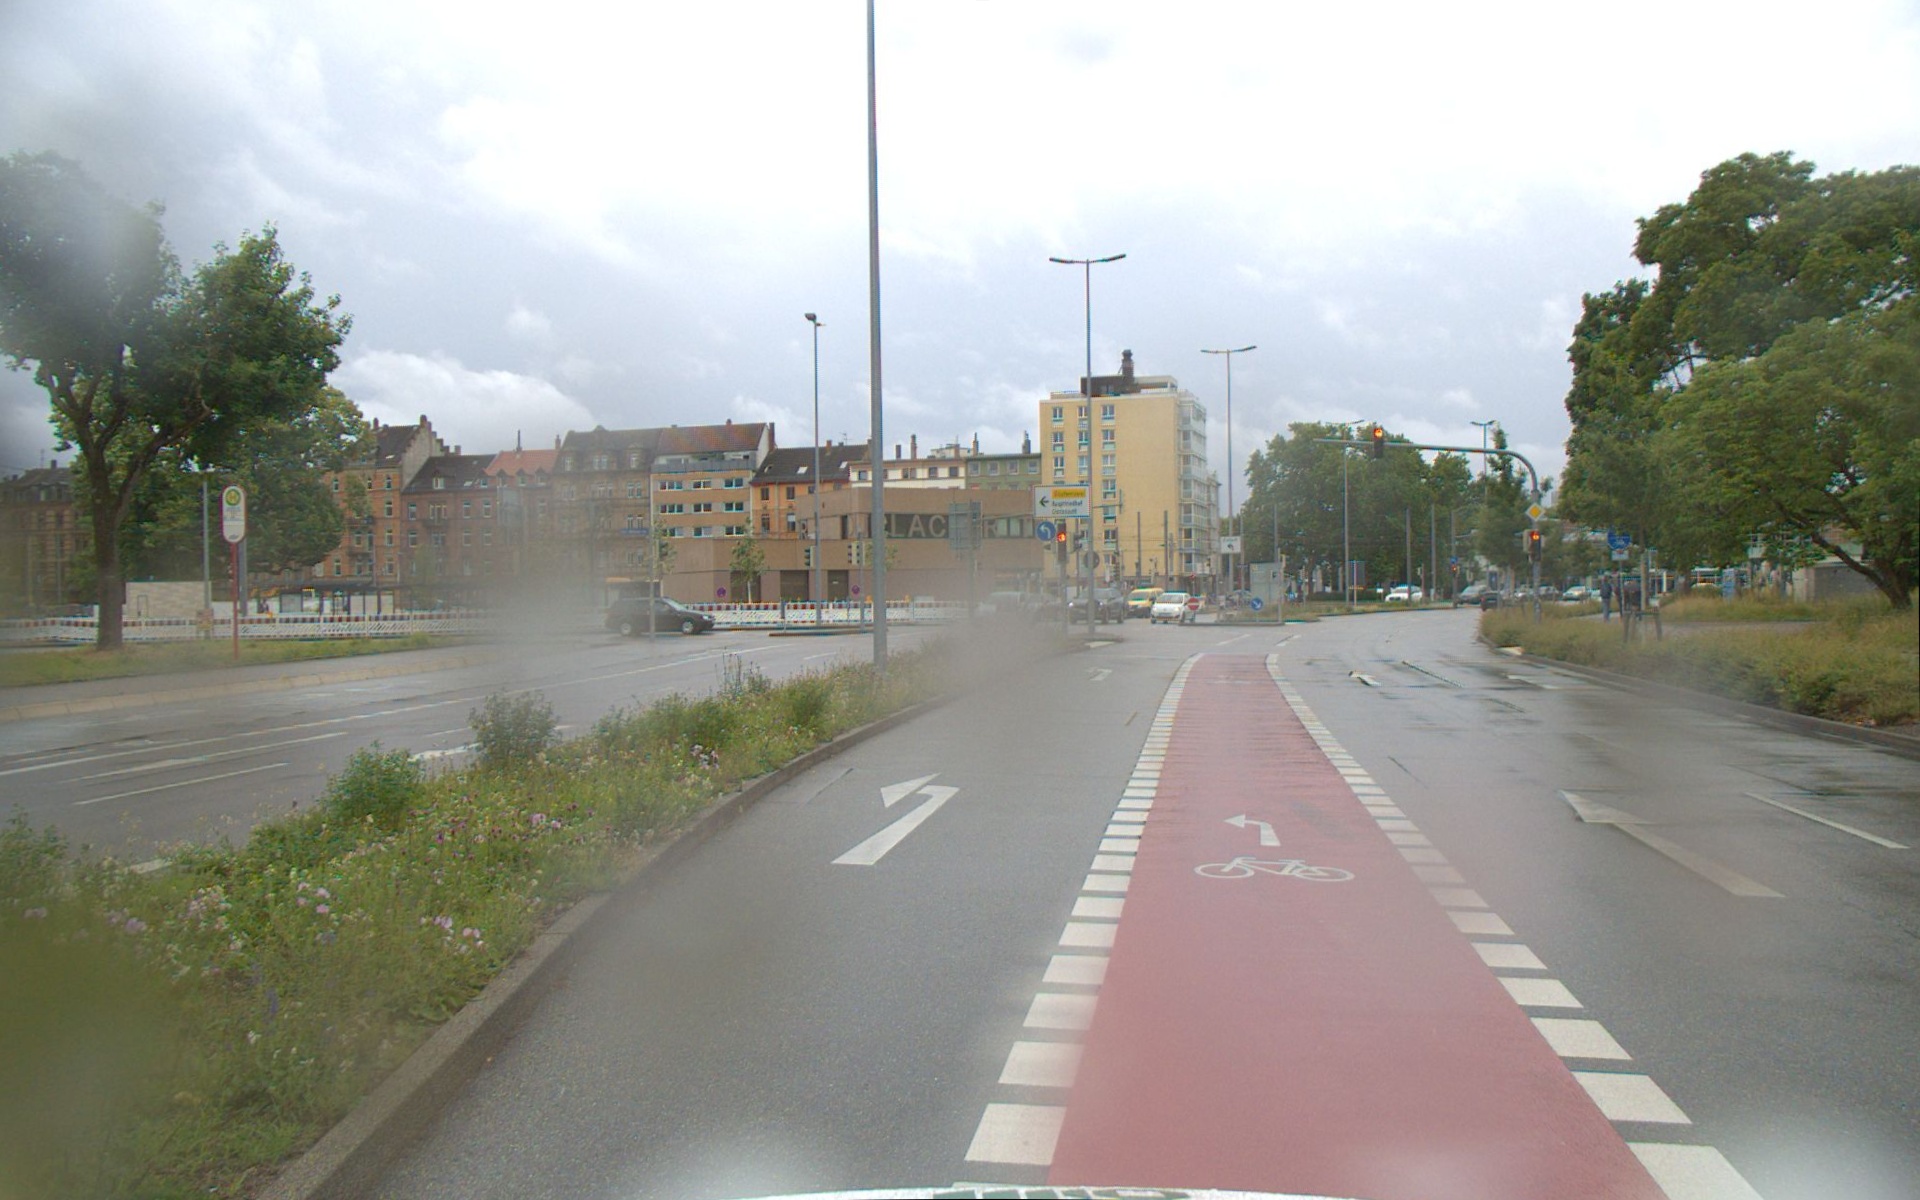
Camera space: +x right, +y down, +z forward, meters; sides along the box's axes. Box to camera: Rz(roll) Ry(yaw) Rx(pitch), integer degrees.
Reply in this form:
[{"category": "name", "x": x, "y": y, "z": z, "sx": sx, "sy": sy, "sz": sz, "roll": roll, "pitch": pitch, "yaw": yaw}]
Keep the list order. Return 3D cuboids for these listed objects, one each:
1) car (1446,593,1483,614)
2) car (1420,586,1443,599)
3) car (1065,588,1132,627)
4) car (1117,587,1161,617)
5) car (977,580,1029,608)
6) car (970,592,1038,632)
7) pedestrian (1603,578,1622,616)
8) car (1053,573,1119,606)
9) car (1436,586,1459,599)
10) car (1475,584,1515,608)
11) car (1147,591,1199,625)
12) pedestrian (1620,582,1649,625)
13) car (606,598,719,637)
[{"category": "car", "x": 47.784, "y": 0.348, "z": 156.550, "sx": 1.670, "sy": 1.720, "sz": 4.158, "roll": -1, "pitch": 2, "yaw": 43}, {"category": "car", "x": 62.218, "y": -1.011, "z": 218.368, "sx": 1.759, "sy": 1.672, "sz": 4.146, "roll": -1, "pitch": 0, "yaw": 34}, {"category": "car", "x": 6.593, "y": 0.349, "z": 78.312, "sx": 1.952, "sy": 1.664, "sz": 4.604, "roll": -3, "pitch": 0, "yaw": 20}, {"category": "car", "x": 10.987, "y": 0.112, "z": 101.341, "sx": 1.670, "sy": 1.735, "sz": 4.153, "roll": -1, "pitch": 0, "yaw": 21}, {"category": "car", "x": 4.636, "y": -0.671, "z": 179.945, "sx": 5.236, "sy": 2.938, "sz": 2.341, "roll": -1, "pitch": 0, "yaw": 14}, {"category": "car", "x": 1.769, "y": 0.447, "z": 65.172, "sx": 1.643, "sy": 1.429, "sz": 4.160, "roll": -2, "pitch": 0, "yaw": 17}, {"category": "pedestrian", "x": 27.853, "y": -0.138, "z": 70.618, "sx": 0.738, "sy": 1.616, "sz": 0.936, "roll": -1, "pitch": 0, "yaw": 21}, {"category": "car", "x": 13.519, "y": -1.124, "z": 177.563, "sx": 6.597, "sy": 3.439, "sz": 2.812, "roll": -1, "pitch": 0, "yaw": 14}, {"category": "car", "x": 63.953, "y": -1.035, "z": 217.018, "sx": 1.759, "sy": 1.672, "sz": 4.146, "roll": -1, "pitch": 0, "yaw": 34}, {"category": "car", "x": 37.998, "y": -0.313, "z": 117.432, "sx": 1.758, "sy": 1.672, "sz": 4.149, "roll": -1, "pitch": 0, "yaw": 32}, {"category": "car", "x": 10.424, "y": 0.382, "z": 80.862, "sx": 1.644, "sy": 1.527, "sz": 3.869, "roll": -2, "pitch": 0, "yaw": 21}, {"category": "pedestrian", "x": 26.170, "y": 0.132, "z": 64.181, "sx": 1.001, "sy": 1.616, "sz": 0.936, "roll": -1, "pitch": 0, "yaw": 21}, {"category": "car", "x": -11.762, "y": 0.688, "z": 65.579, "sx": 4.103, "sy": 1.427, "sz": 1.619, "roll": -1, "pitch": 0, "yaw": 4}]
